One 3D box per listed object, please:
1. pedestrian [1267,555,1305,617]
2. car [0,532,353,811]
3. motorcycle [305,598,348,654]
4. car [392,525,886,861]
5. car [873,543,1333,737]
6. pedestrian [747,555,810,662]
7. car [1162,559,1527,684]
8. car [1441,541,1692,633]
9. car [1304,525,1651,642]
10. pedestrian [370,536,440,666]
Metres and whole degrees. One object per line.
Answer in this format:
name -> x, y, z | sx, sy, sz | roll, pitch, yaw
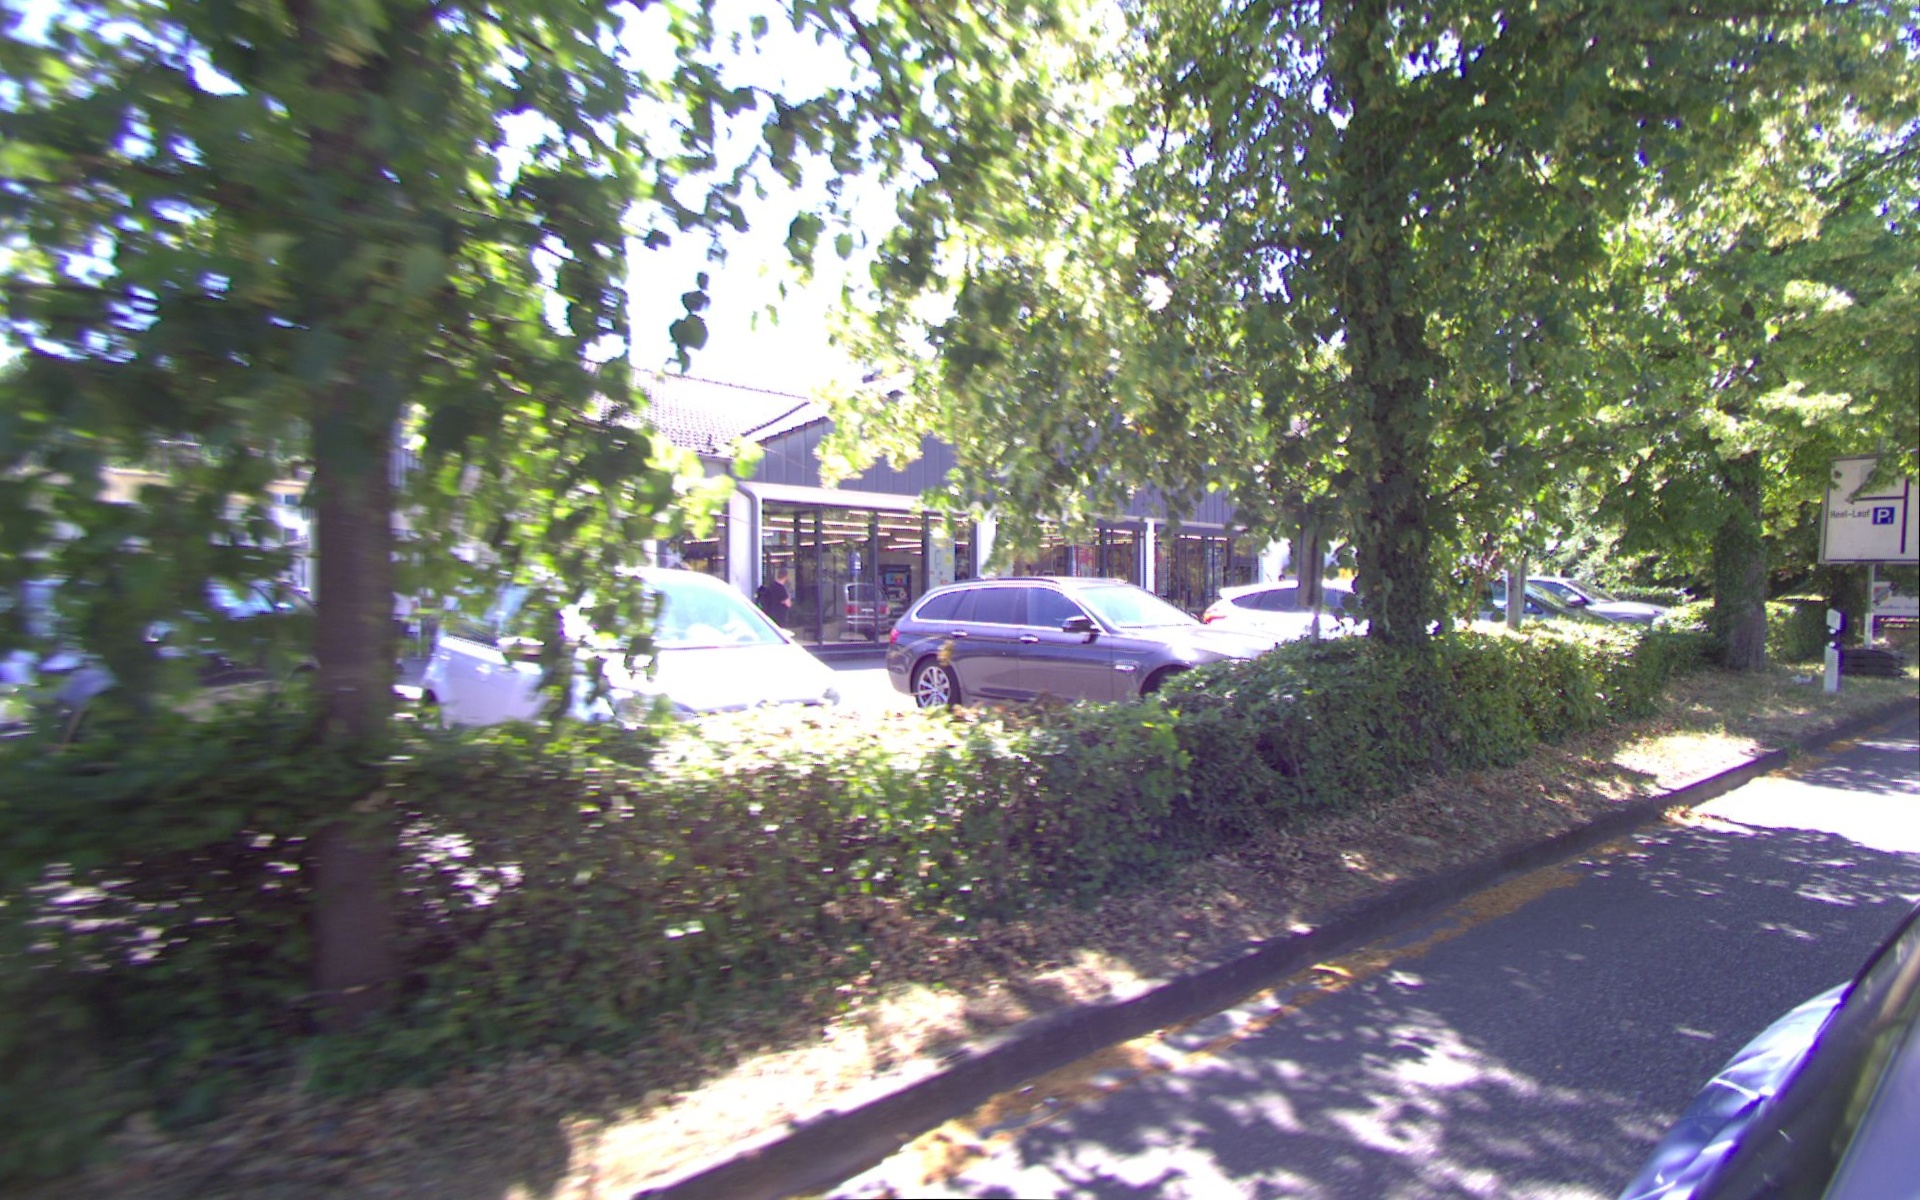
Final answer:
pedestrian -> 9.441, -0.411, 29.315 | 0.686, 1.763, 0.762 | -2, 1, -40
car -> -6.363, 0.399, 7.386 | 1.710, 1.523, 4.306 | -1, 0, -7
motorcycle -> -14.337, 0.563, 22.918 | 0.391, 1.185, 1.492 | -1, 1, -15
car -> -2.164, 0.396, 6.342 | 3.398, 1.525, 1.557 | 1, 1, 44
car -> 1.208, 0.286, 9.994 | 1.780, 1.499, 4.312 | -1, 1, -45
pedestrian -> -3.098, 0.132, 17.276 | 0.697, 1.775, 0.773 | 0, 1, 42
car -> 5.066, 0.230, 13.729 | 1.922, 1.428, 4.231 | -1, 1, -45
car -> 12.179, -0.268, 20.485 | 1.967, 1.660, 3.991 | -2, 1, -43
car -> 8.588, -0.246, 17.159 | 1.967, 1.697, 4.852 | -1, 1, -43
pedestrian -> -8.993, -0.002, 16.393 | 0.790, 2.039, 0.783 | -2, 1, -44
